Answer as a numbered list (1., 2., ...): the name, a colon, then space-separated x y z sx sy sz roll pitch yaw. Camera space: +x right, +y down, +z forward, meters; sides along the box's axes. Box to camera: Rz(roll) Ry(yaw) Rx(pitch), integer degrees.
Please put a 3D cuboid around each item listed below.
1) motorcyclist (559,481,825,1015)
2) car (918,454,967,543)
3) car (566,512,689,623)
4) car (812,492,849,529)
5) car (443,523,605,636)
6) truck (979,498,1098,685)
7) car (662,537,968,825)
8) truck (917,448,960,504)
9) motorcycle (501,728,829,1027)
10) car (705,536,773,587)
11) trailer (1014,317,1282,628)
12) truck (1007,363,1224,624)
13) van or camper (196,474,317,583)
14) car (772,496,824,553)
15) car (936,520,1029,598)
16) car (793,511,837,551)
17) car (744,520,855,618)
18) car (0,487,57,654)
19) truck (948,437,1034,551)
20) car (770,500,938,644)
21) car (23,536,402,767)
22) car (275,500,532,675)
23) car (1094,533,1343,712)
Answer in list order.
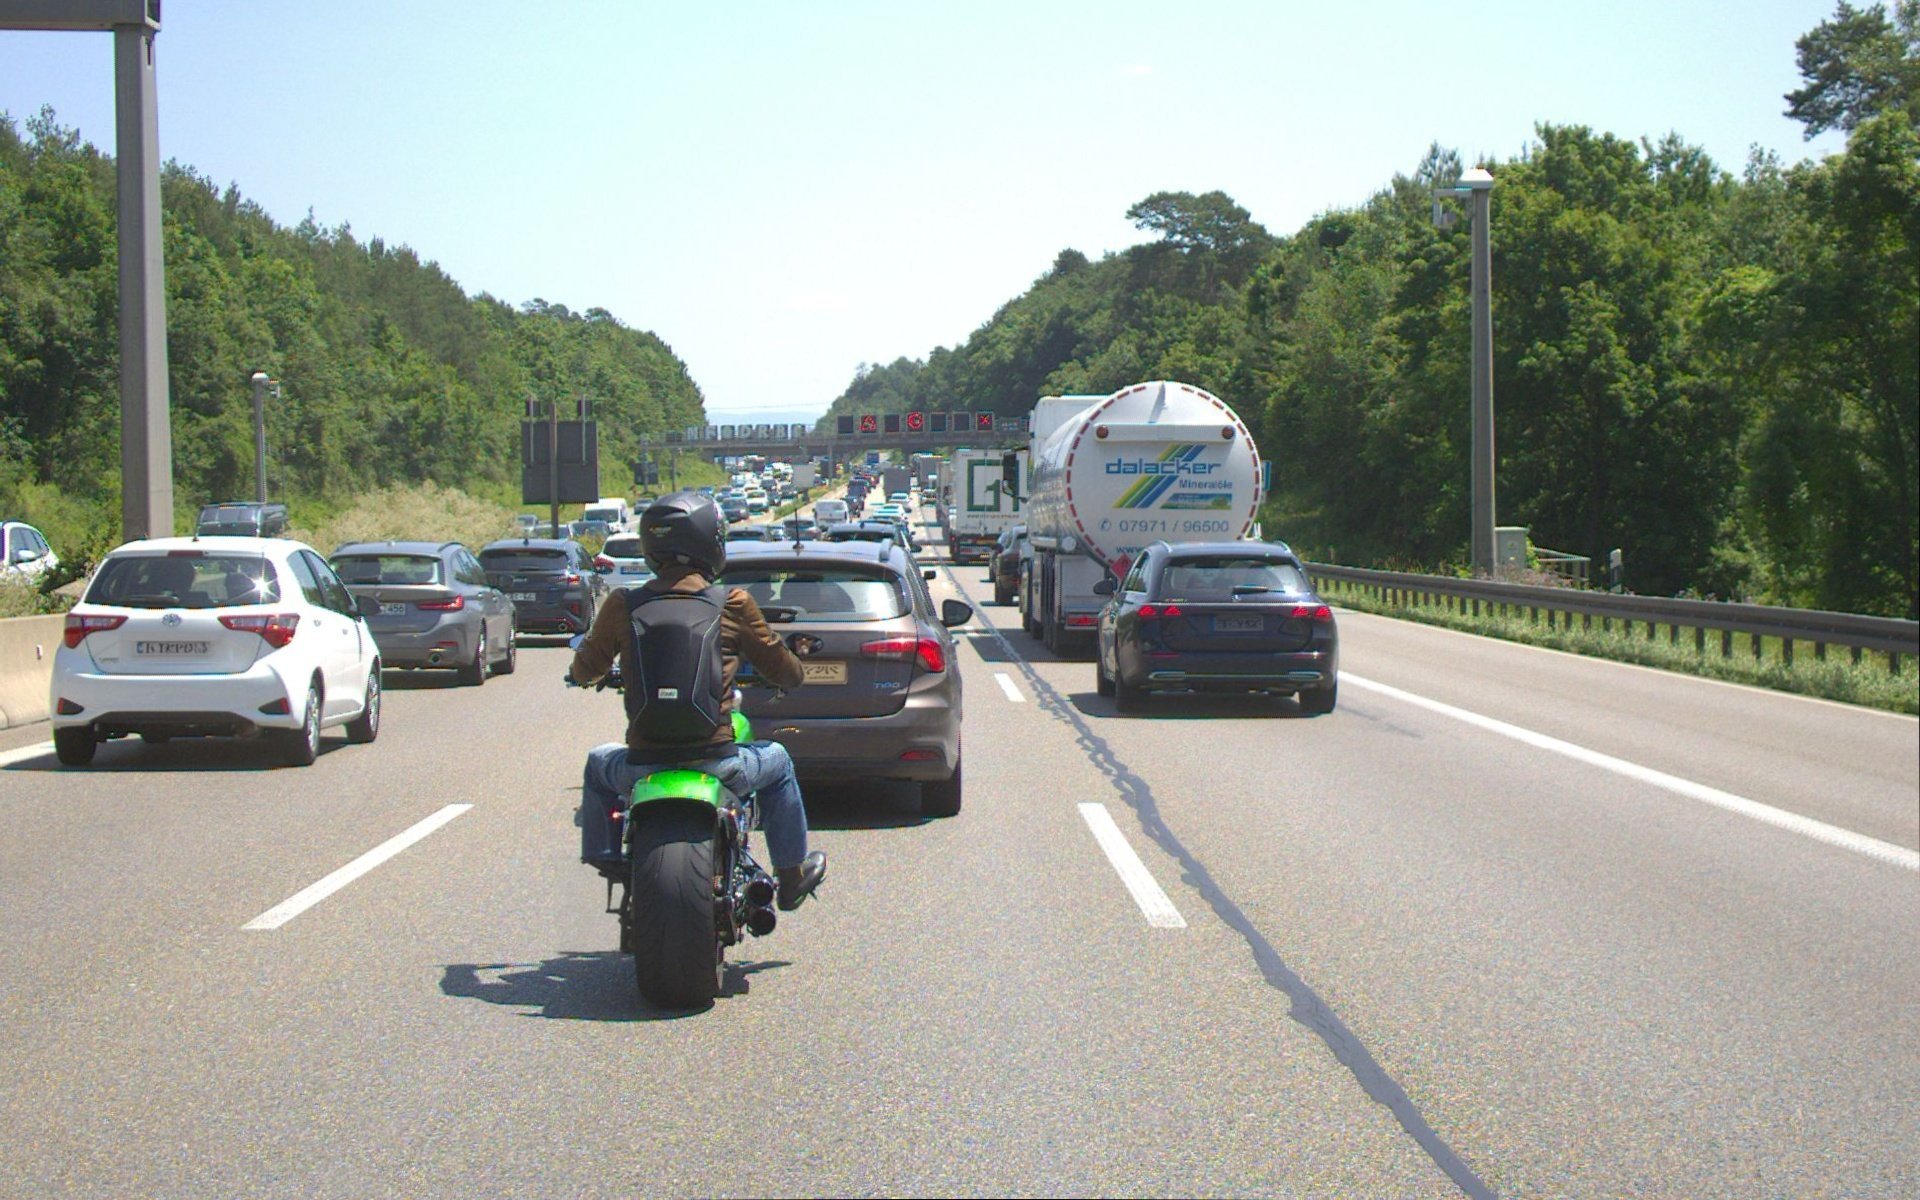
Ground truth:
1. motorcyclist: -0.868 0.468 11.380 0.799 1.682 1.016 1 0 -1
2. car: -0.843 -4.686 160.795 2.167 3.879 9.330 1 0 -1
3. car: -6.196 -0.586 64.372 1.993 2.007 4.000 1 0 -1
4. car: -7.283 -5.025 193.574 1.993 2.007 4.000 -1 1 -1
5. car: -5.925 -0.263 47.088 1.993 1.459 4.000 1 0 -4
6. truck: 1.896 -0.334 87.328 2.388 4.448 10.870 0 1 -2
7. car: -0.764 0.384 19.438 1.541 1.445 4.000 1 1 -1
8. truck: -1.463 -8.052 224.805 2.696 3.394 10.479 -1 1 -1
9. motorcycle: -0.940 0.887 11.604 0.936 0.790 2.299 1 1 -1
10. car: -6.487 -1.151 101.136 1.764 1.437 4.000 0 1 0
11. trailer: 2.314 -1.508 46.167 2.828 3.658 10.733 1 0 -1
12. truck: 2.237 -1.496 51.659 2.828 3.658 6.430 1 0 -1
13. van or camper: -19.404 -1.933 95.139 2.154 2.849 6.654 1 0 -2
14. car: -5.763 -2.688 122.589 1.660 1.971 4.000 0 0 0
15. car: 0.431 -0.811 69.904 1.776 1.522 4.000 1 0 -1
16. car: -5.968 -2.811 141.467 1.660 1.594 4.000 0 0 0
17. car: -2.981 -0.567 64.489 1.993 1.769 4.000 1 0 -2
18. car: -12.513 -0.362 41.476 1.993 2.007 4.347 1 0 1
19. truck: 1.147 -3.729 122.590 2.854 3.808 7.187 1 0 2
20. car: -1.323 -0.332 42.983 1.993 1.705 4.000 1 0 -2
21. car: -5.013 0.286 23.571 1.776 1.406 4.000 1 1 -1
22. car: -5.658 -0.115 35.435 1.993 1.678 4.330 1 0 -1
23. car: 2.218 0.189 30.616 1.792 1.453 4.624 1 0 -1
